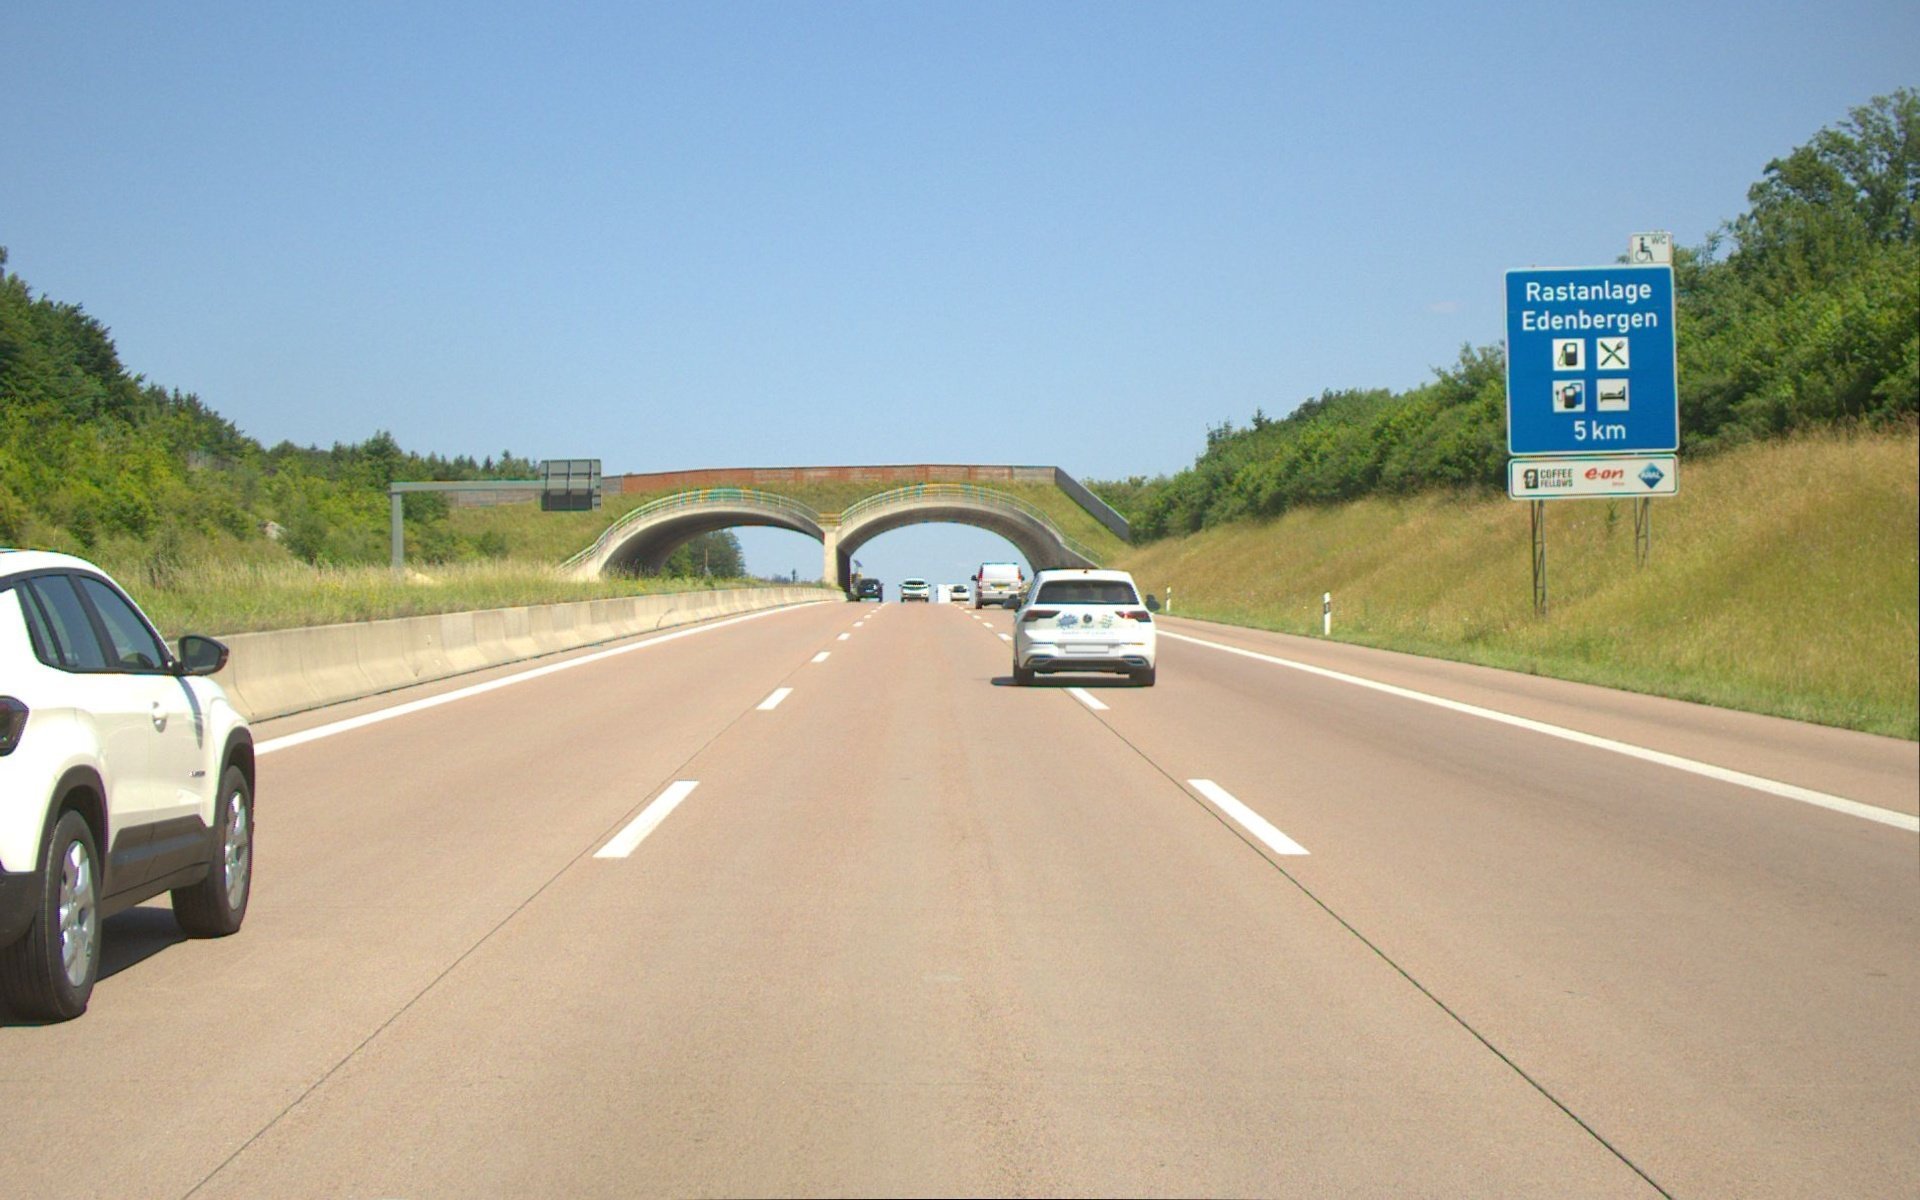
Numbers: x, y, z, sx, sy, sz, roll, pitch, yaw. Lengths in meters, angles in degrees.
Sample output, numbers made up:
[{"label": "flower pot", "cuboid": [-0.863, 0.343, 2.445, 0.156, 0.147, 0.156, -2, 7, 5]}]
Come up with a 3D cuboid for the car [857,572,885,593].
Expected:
[{"label": "car", "cuboid": [-6.541, -1.317, 253.776, 1.891, 1.458, 4.000, 0, 1, 1]}]

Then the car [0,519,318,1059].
[{"label": "car", "cuboid": [-3.716, 0.519, 12.602, 1.879, 1.602, 4.834, 0, 1, -1]}]

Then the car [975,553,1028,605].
[{"label": "car", "cuboid": [1.730, -0.887, 141.475, 2.110, 2.047, 4.000, 0, 1, 1]}]

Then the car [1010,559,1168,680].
[{"label": "car", "cuboid": [1.611, 0.216, 43.628, 1.891, 1.393, 4.000, 1, 1, 1]}]

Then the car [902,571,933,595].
[{"label": "car", "cuboid": [-2.738, -1.130, 222.128, 1.891, 1.458, 4.000, 1, 1, 0]}]
